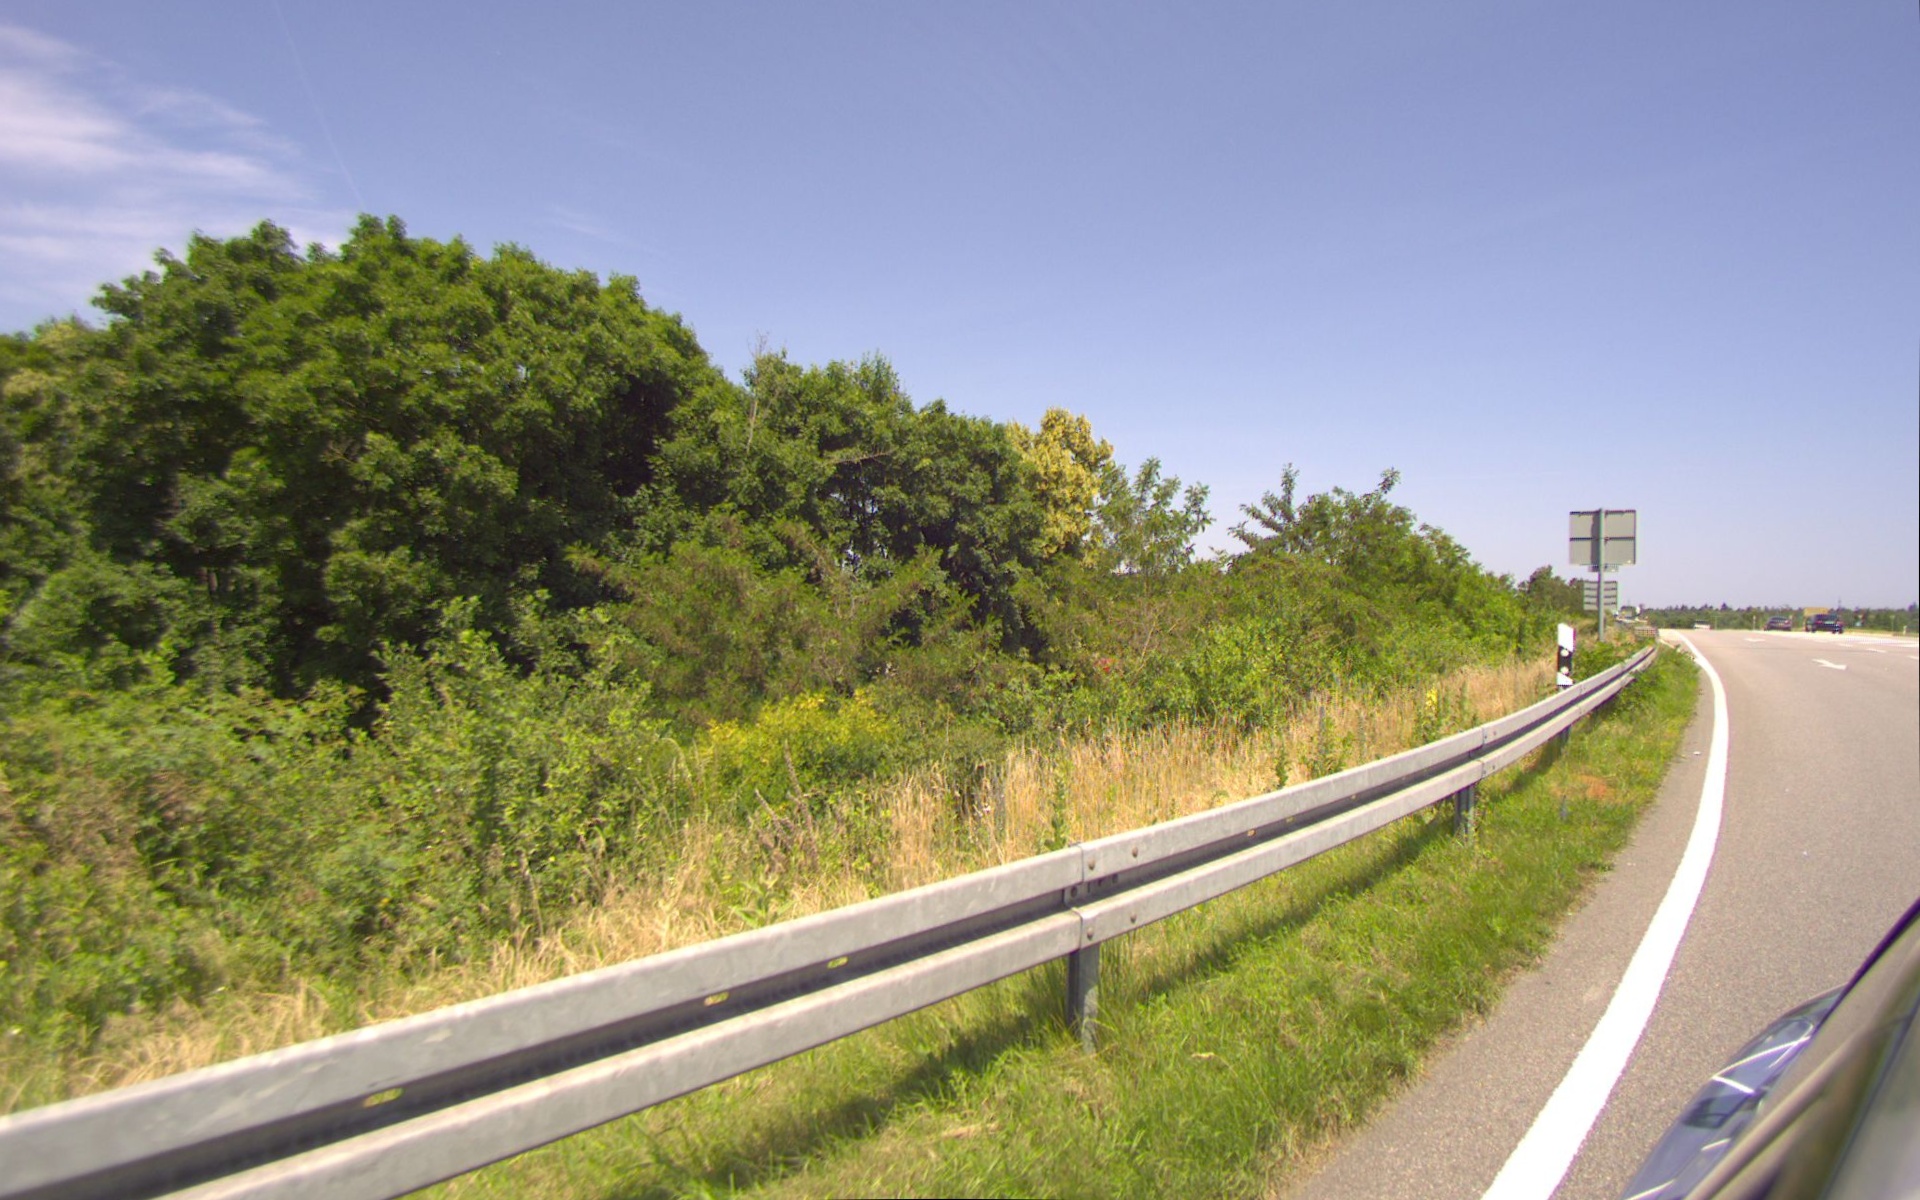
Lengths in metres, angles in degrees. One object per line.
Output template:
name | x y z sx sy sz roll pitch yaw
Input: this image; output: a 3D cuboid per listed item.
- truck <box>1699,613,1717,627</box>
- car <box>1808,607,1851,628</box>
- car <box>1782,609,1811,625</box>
truck | 129.958 3.453 175.829 2.197 2.271 5.309 1 0 33
car | 62.855 1.264 73.227 1.728 1.418 4.329 3 1 32
car | 82.189 1.664 99.512 1.718 1.471 4.734 2 1 35
